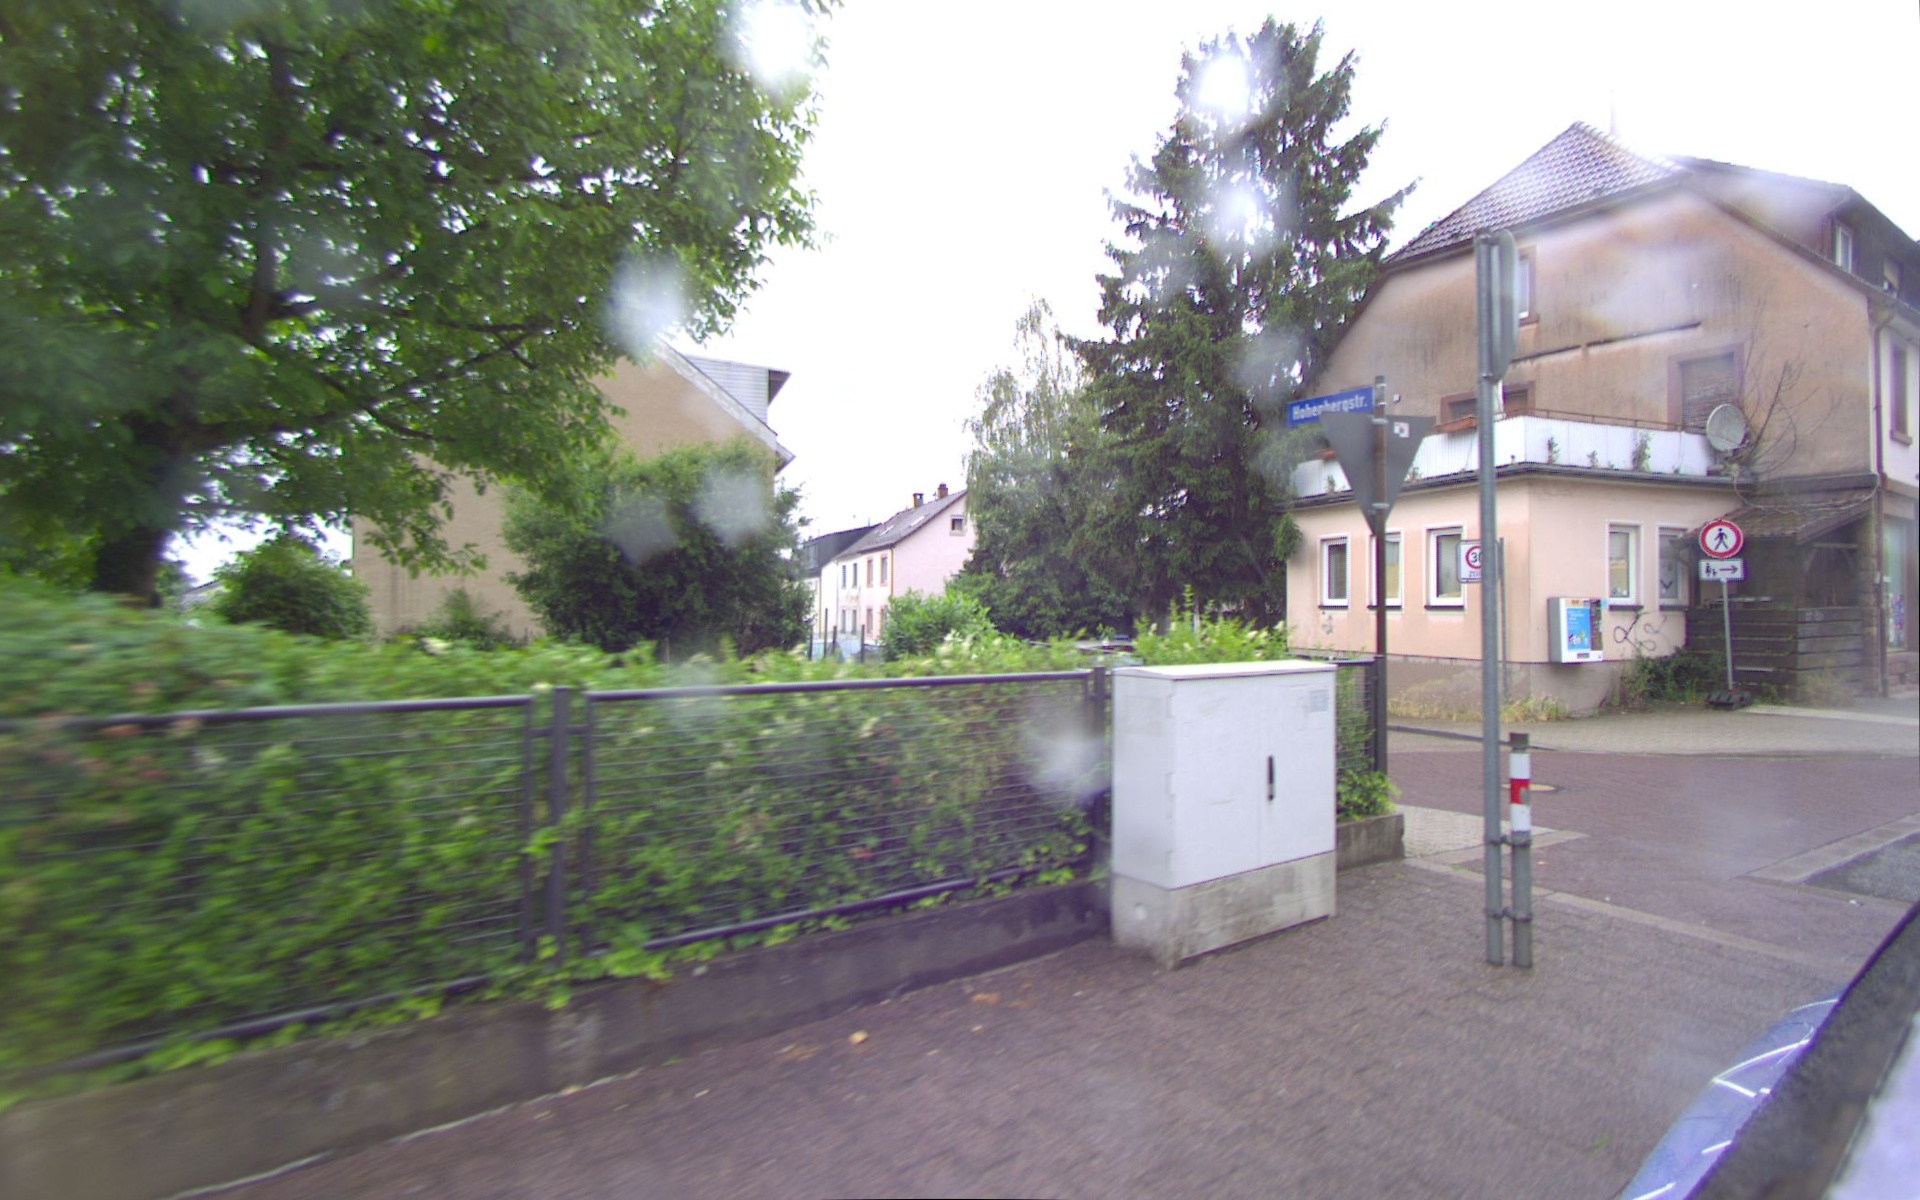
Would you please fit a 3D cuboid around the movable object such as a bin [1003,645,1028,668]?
[{"bbox_3d":[1.974,2.005,36.036,0.685,0.776,0.744,-1,-1,-15],"label":"movable object such as a bin"}]

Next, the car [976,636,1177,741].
[{"bbox_3d":[1.782,1.360,16.883,1.755,1.490,4.007,0,-2,-19],"label":"car"}]

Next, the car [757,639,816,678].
[{"bbox_3d":[-7.944,2.619,46.014,1.958,1.591,4.103,-1,-2,-19],"label":"car"}]
